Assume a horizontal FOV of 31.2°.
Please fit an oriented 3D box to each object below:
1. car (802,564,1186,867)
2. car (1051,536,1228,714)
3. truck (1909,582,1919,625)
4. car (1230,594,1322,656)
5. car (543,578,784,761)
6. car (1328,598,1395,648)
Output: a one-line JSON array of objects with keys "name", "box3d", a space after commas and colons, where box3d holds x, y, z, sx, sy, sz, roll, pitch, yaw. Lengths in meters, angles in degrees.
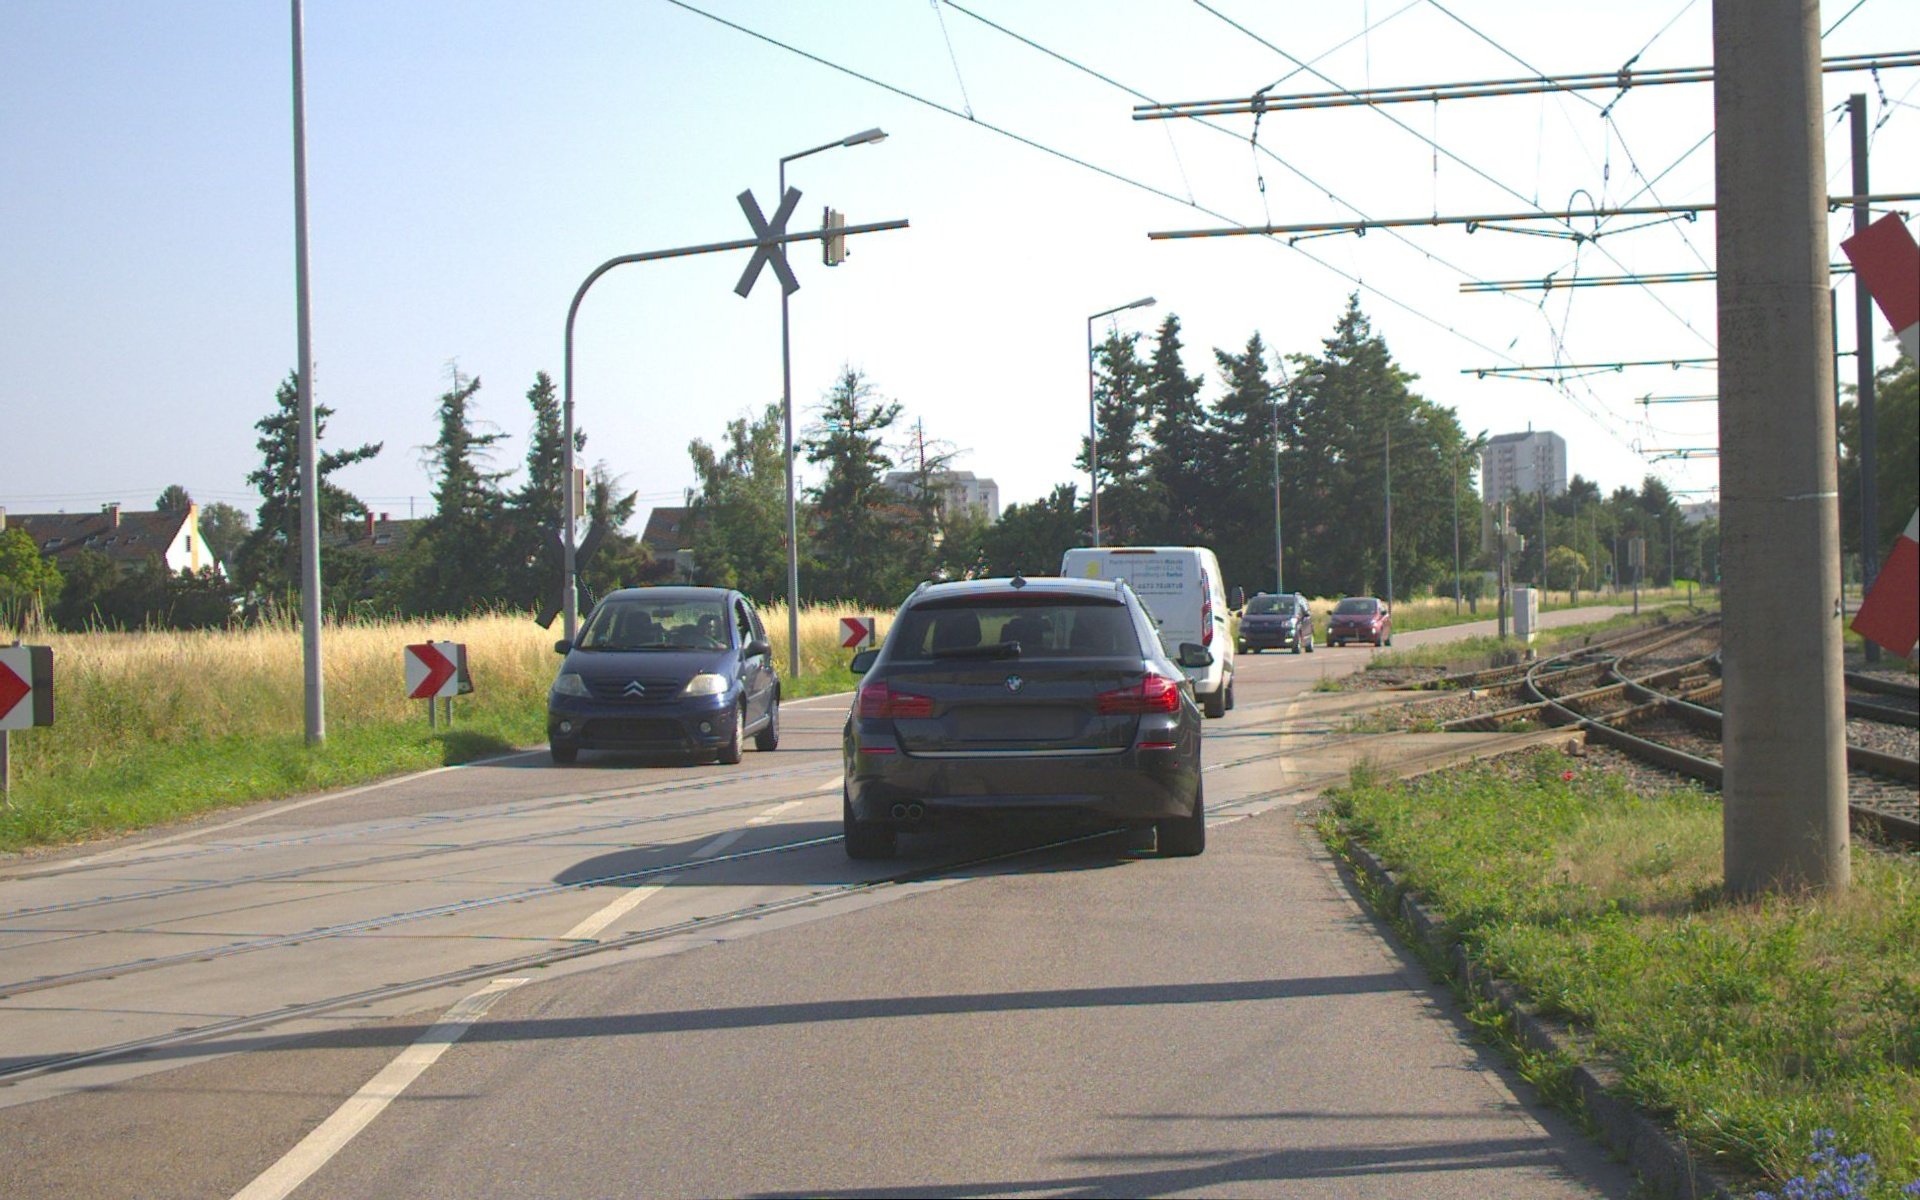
[{"name": "car", "box3d": [0.234, 0.538, 19.107, 1.869, 1.447, 4.743, 0, 1, 2]}, {"name": "car", "box3d": [2.205, 0.261, 41.061, 1.858, 1.981, 5.107, 0, 0, 6]}, {"name": "truck", "box3d": [42.351, 0.143, 148.838, 2.205, 1.813, 5.926, -1, 0, 13]}, {"name": "car", "box3d": [8.751, 0.668, 94.887, 1.707, 1.659, 4.586, 0, 0, 16]}, {"name": "car", "box3d": [-2.570, 0.587, 30.607, 1.624, 1.489, 4.000, -1, 0, 2]}, {"name": "car", "box3d": [12.742, 0.718, 108.951, 1.713, 1.544, 3.926, 0, 0, 12]}]
